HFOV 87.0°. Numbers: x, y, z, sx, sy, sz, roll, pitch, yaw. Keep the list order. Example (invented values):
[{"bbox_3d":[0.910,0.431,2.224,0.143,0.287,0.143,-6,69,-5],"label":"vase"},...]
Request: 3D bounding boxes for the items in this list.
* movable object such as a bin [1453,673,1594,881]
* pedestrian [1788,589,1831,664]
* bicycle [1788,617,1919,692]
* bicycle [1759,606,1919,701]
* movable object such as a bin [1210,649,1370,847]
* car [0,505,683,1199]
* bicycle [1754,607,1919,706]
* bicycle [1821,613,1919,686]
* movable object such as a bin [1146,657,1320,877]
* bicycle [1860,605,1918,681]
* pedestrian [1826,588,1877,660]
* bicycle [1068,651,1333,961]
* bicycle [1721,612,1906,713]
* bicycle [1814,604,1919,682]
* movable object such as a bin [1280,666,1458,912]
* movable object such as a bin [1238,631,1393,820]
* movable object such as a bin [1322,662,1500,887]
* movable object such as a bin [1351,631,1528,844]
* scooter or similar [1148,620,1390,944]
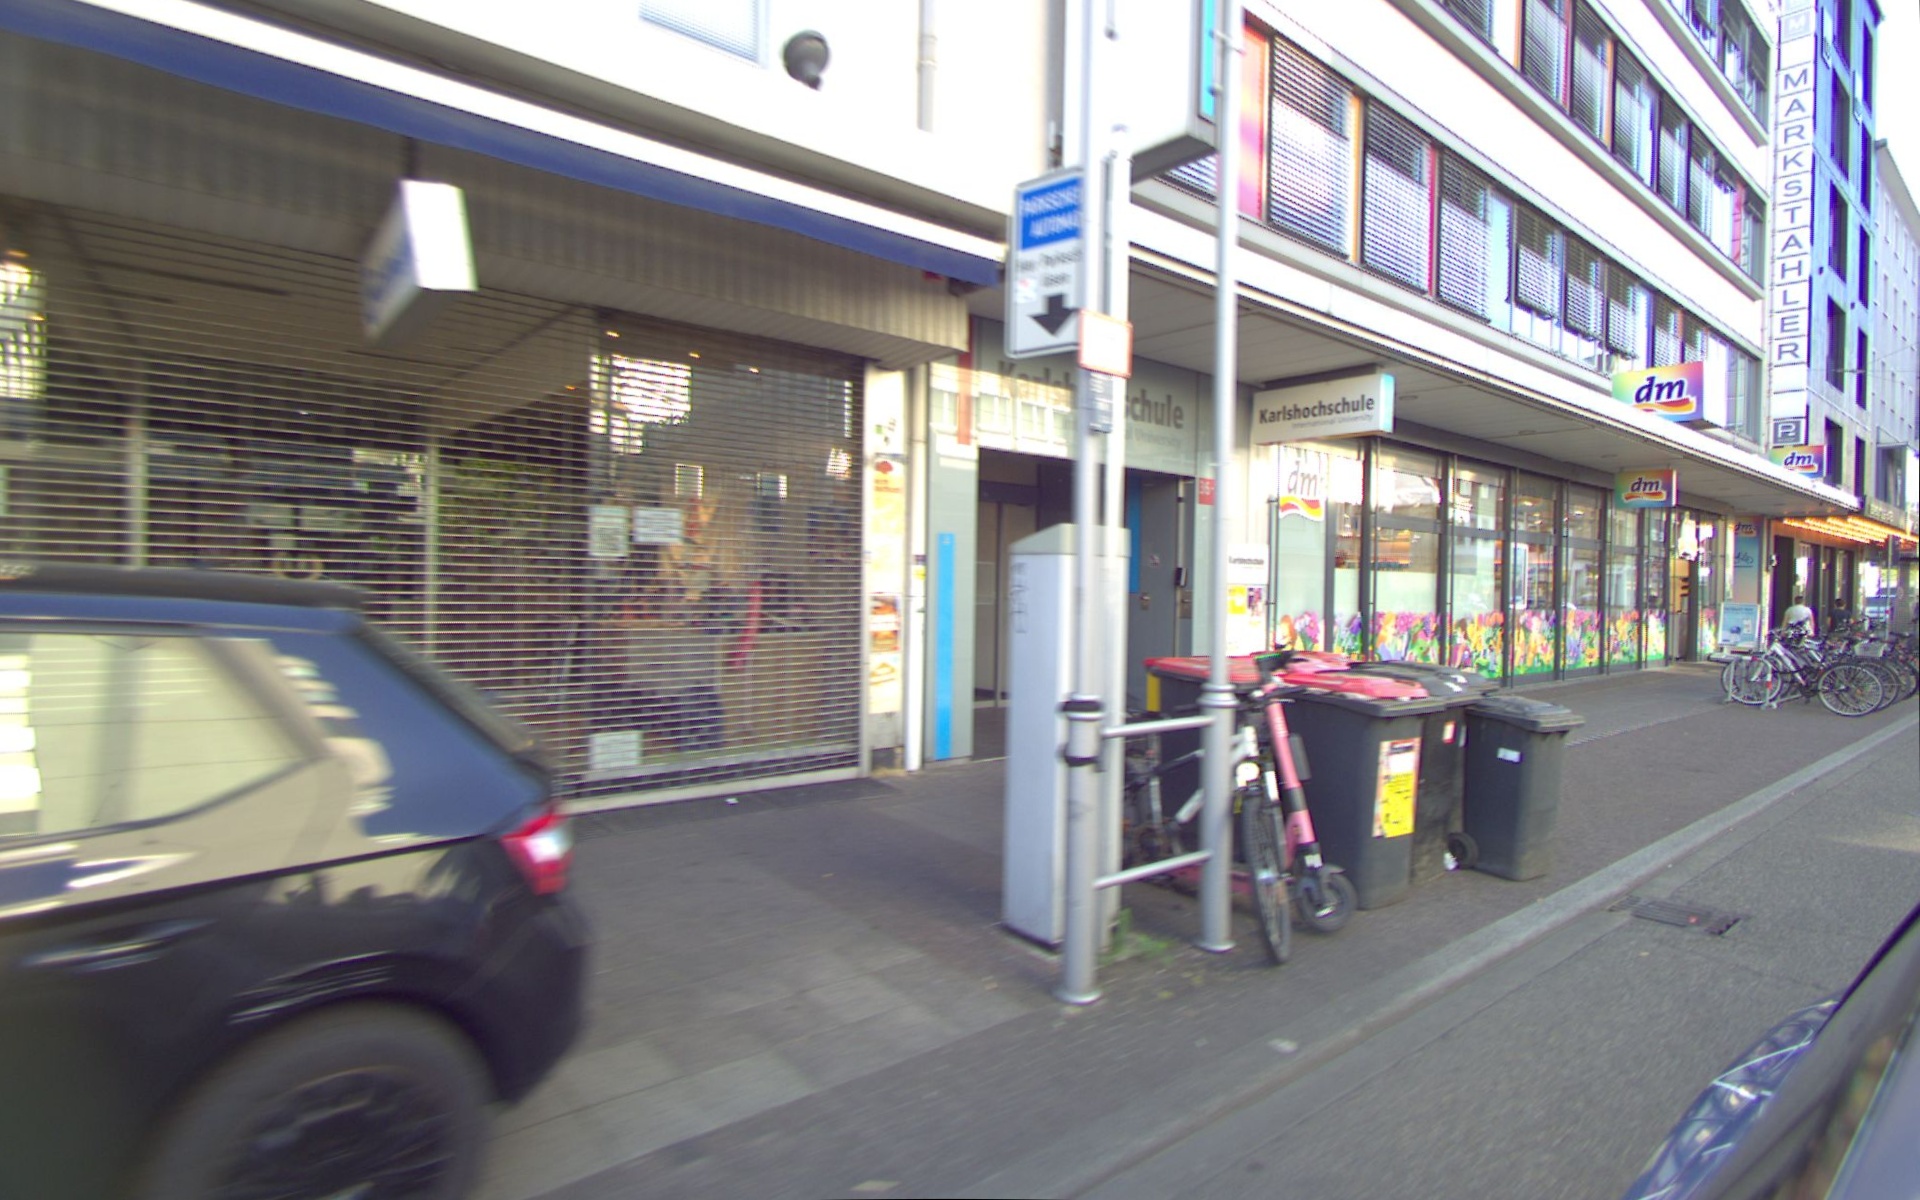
[{"bbox_3d":[2.994,0.910,5.388,0.449,0.970,0.489,0,2,-37],"label":"movable object such as a bin"},{"bbox_3d":[18.905,0.574,22.531,0.587,1.605,0.582,0,3,-42],"label":"pedestrian"},{"bbox_3d":[14.139,0.833,15.792,0.586,1.044,1.777,0,2,-40],"label":"bicycle"},{"bbox_3d":[12.929,0.745,14.846,0.577,1.232,1.791,0,2,-40],"label":"bicycle"},{"bbox_3d":[1.965,0.840,6.047,0.625,1.026,0.660,0,2,-37],"label":"movable object such as a bin"},{"bbox_3d":[-2.671,0.602,1.614,3.999,1.547,1.617,-1,2,-41],"label":"car"},{"bbox_3d":[12.430,0.751,14.299,0.657,1.232,1.791,0,2,-40],"label":"bicycle"},{"bbox_3d":[15.832,0.833,17.199,0.471,1.145,1.774,0,2,-45],"label":"bicycle"},{"bbox_3d":[1.488,0.866,5.534,0.625,1.026,0.660,0,2,-37],"label":"movable object such as a bin"},{"bbox_3d":[17.055,0.764,18.570,1.574,1.272,0.582,0,3,-42],"label":"bicycle"},{"bbox_3d":[19.573,0.518,22.223,0.575,1.511,0.523,3,2,14],"label":"pedestrian"},{"bbox_3d":[1.018,0.831,4.471,0.314,1.093,1.133,0,3,-41],"label":"bicycle"},{"bbox_3d":[11.411,0.795,13.581,0.657,1.174,1.791,0,2,-40],"label":"bicycle"},{"bbox_3d":[16.429,0.758,17.862,2.034,1.290,0.517,3,2,41],"label":"bicycle"},{"bbox_3d":[1.984,0.870,4.919,0.658,1.026,0.523,0,2,-38],"label":"movable object such as a bin"},{"bbox_3d":[2.338,0.786,6.675,0.653,1.102,0.693,0,2,-37],"label":"movable object such as a bin"},{"bbox_3d":[2.382,0.879,5.371,0.499,1.026,0.688,0,2,-37],"label":"movable object such as a bin"},{"bbox_3d":[2.839,0.767,6.007,0.673,1.102,0.693,0,2,-37],"label":"movable object such as a bin"},{"bbox_3d":[1.367,0.751,4.586,0.314,1.247,0.995,0,3,-41],"label":"scooter or similar"}]
